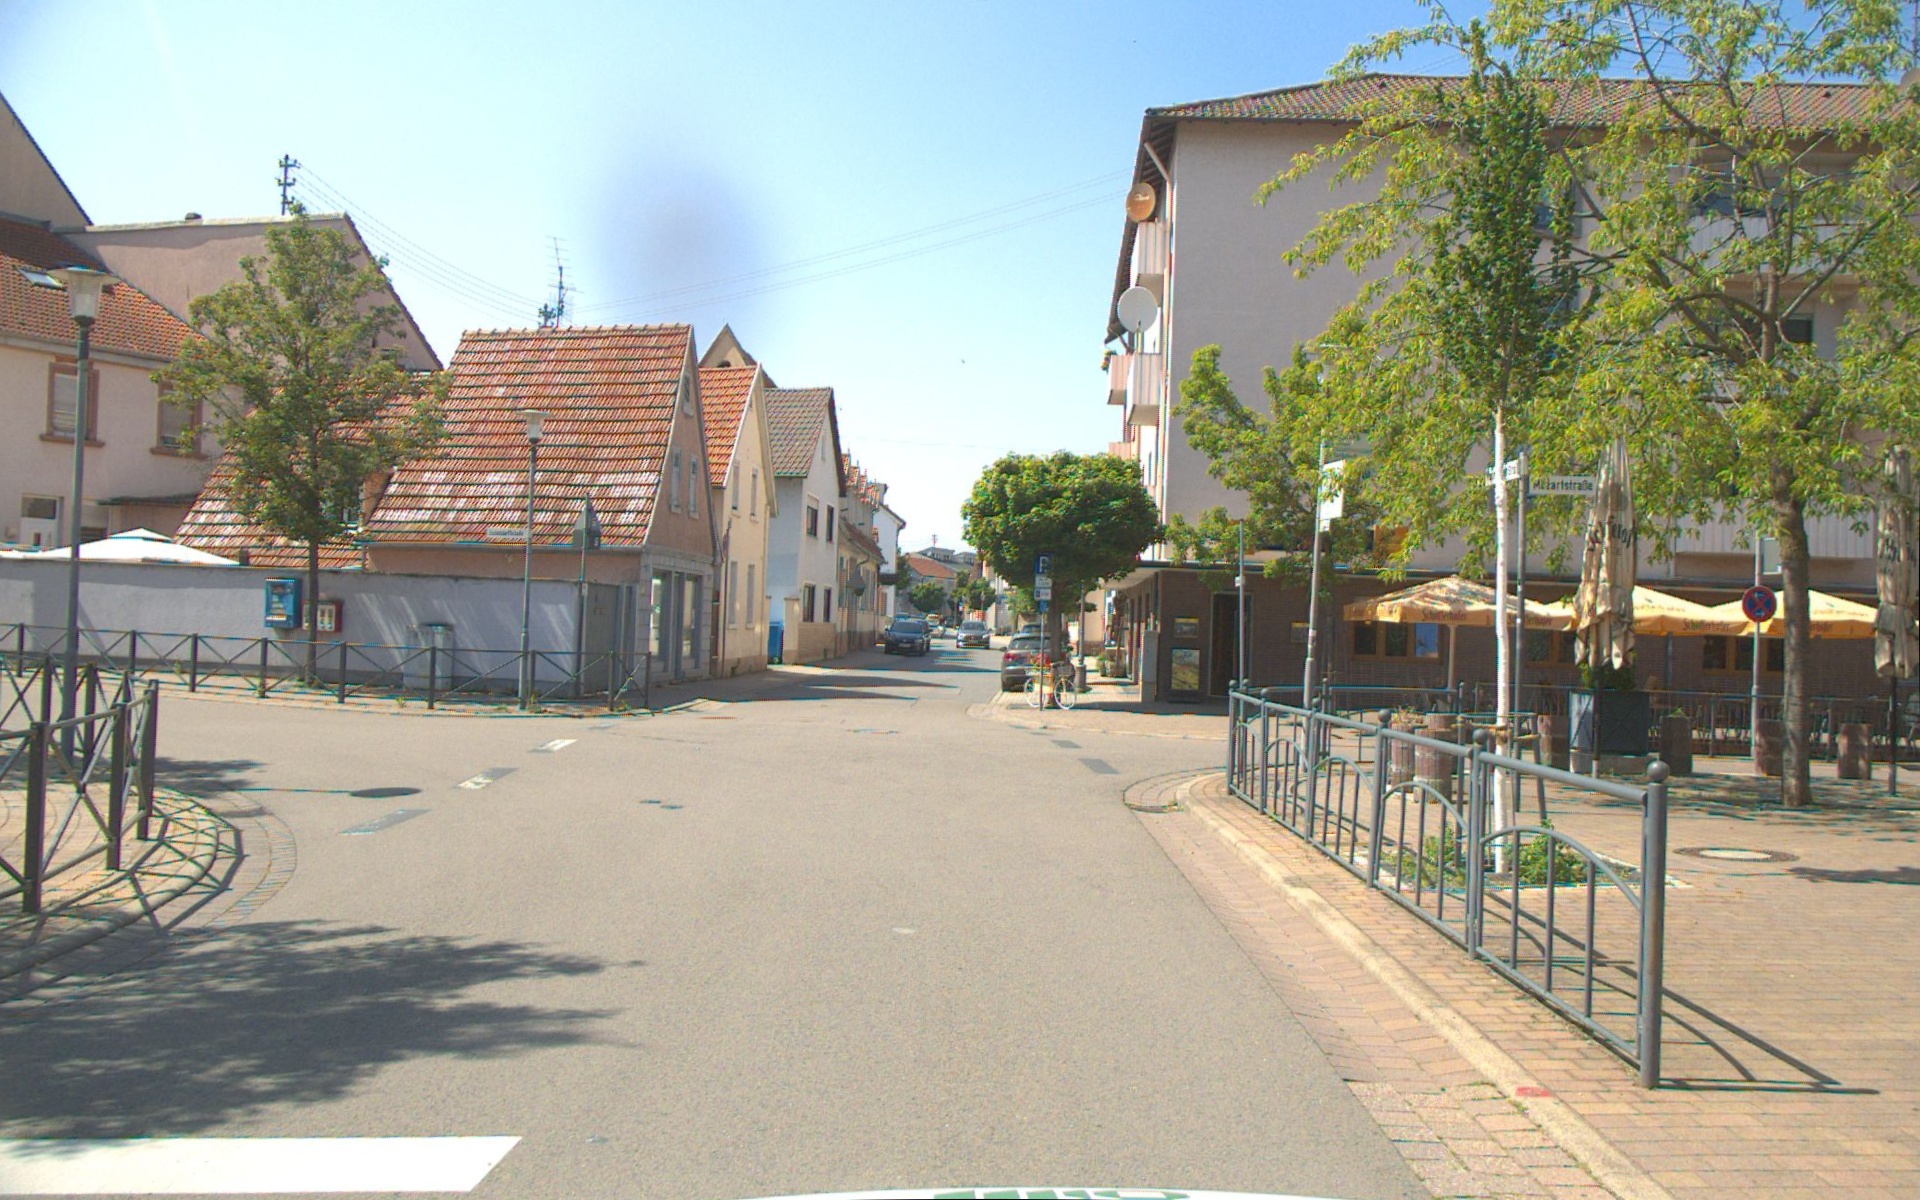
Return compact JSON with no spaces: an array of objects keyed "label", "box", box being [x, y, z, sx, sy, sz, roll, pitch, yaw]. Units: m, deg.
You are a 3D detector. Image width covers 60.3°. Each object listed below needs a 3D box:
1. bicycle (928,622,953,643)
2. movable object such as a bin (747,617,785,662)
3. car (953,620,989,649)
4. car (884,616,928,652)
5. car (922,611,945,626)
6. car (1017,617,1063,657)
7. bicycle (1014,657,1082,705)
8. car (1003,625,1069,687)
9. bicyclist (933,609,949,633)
[{"label":"bicycle","box":[-1.395,2.275,117.285,1.591,1.395,3.923,1,-1,-3]},{"label":"movable object such as a bin","box":[-6.098,1.248,51.943,1.078,1.389,0.390,1,-1,6]},{"label":"car","box":[0.621,1.907,90.836,1.870,1.507,4.844,1,-1,1]},{"label":"car","box":[-2.364,1.479,73.224,1.628,1.502,4.135,1,-1,2]},{"label":"car","box":[-3.051,2.162,189.958,1.984,1.626,4.512,1,-1,7]},{"label":"car","box":[3.655,1.686,75.823,2.000,1.718,4.843,1,-1,2]},{"label":"bicycle","box":[1.768,1.628,33.354,1.387,0.913,0.462,0,-1,40]},{"label":"car","box":[1.967,1.387,41.988,1.543,1.479,3.487,1,-1,4]},{"label":"bicyclist","box":[-1.350,1.486,117.479,1.025,1.666,1.127,1,-1,-3]}]
